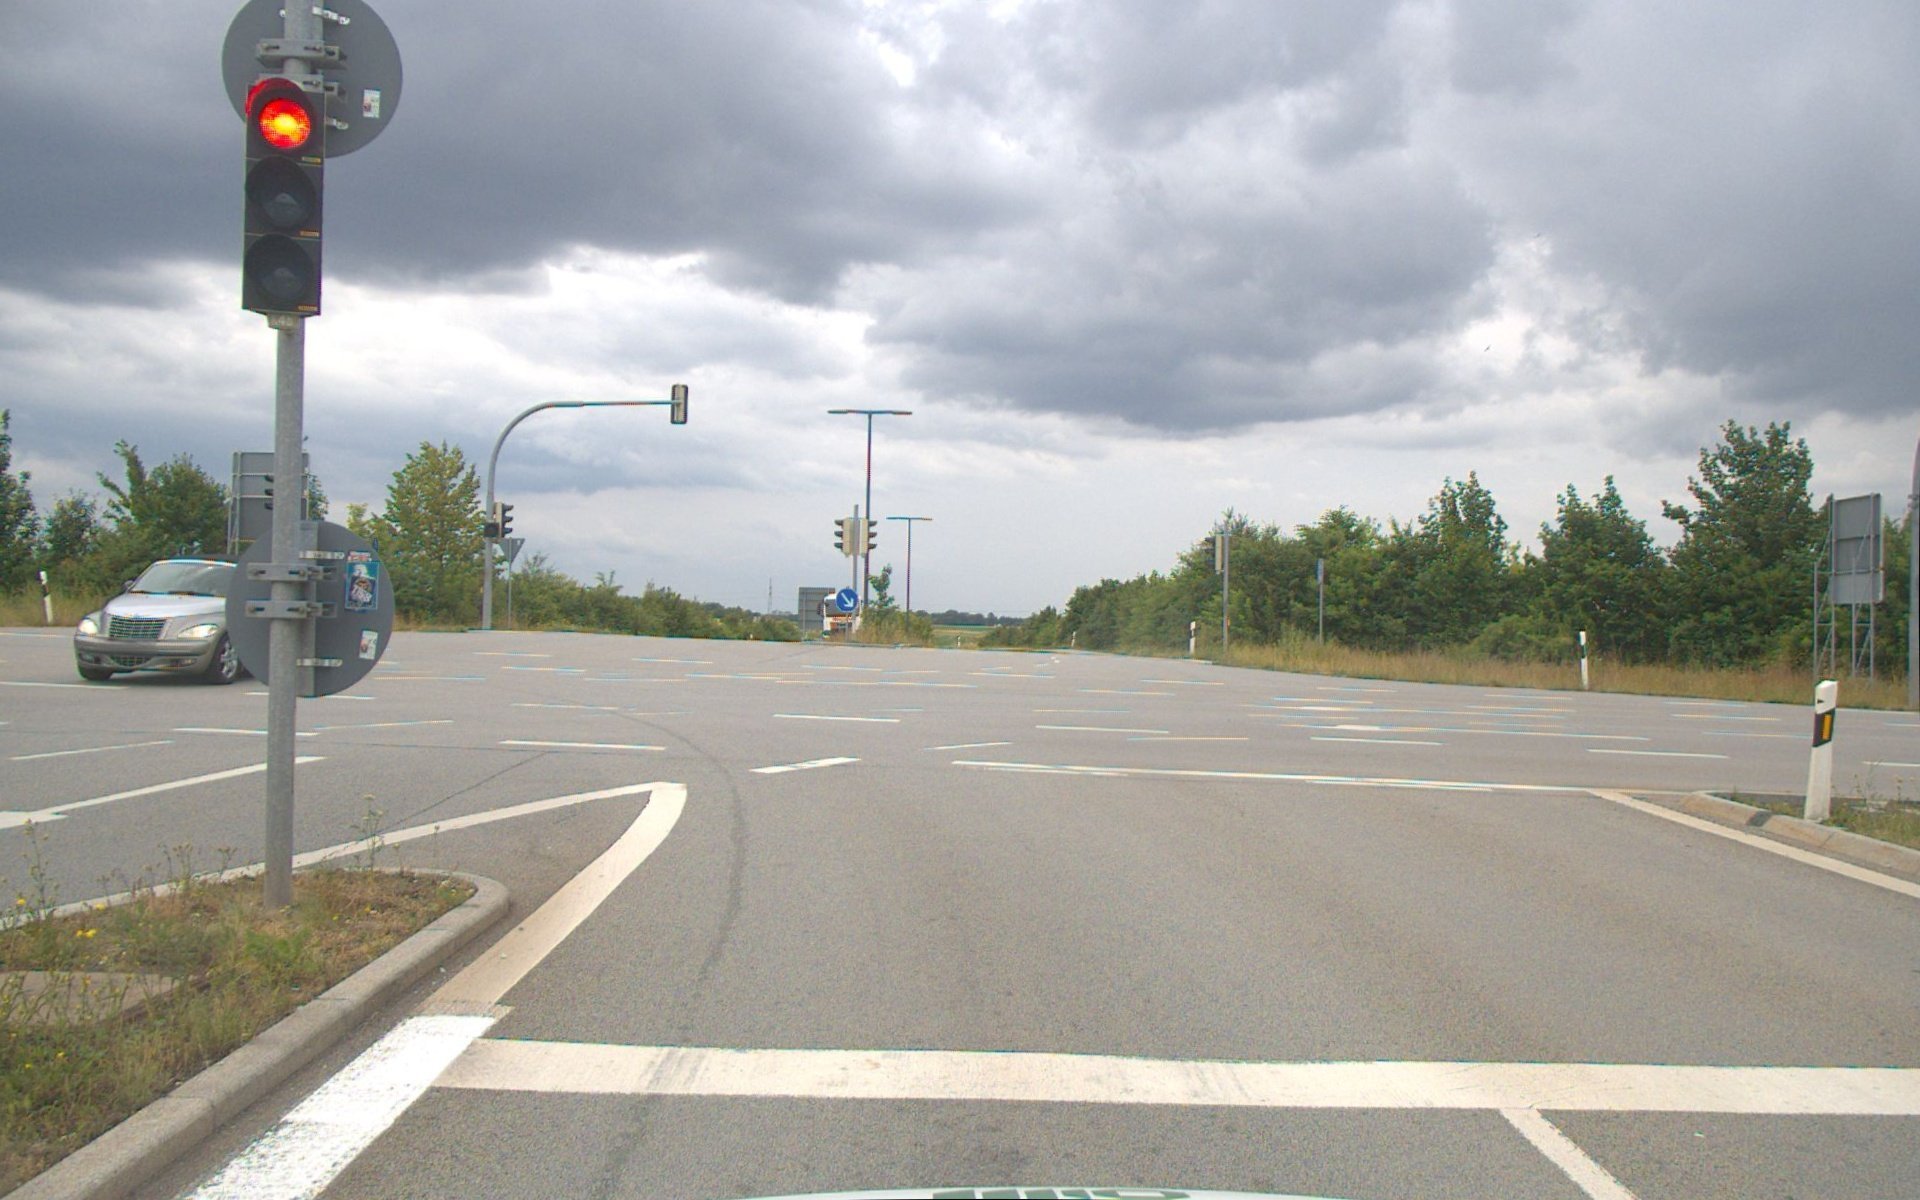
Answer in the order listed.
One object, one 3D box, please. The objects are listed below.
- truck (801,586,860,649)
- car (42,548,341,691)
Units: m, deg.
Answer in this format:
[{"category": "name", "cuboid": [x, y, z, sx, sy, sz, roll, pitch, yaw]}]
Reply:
[{"category": "truck", "cuboid": [-7.469, 1.074, 96.534, 2.811, 3.468, 8.648, 1, -1, 0]}, {"category": "car", "cuboid": [-9.386, 0.176, 20.619, 1.773, 1.546, 4.242, 2, 1, -1]}]
